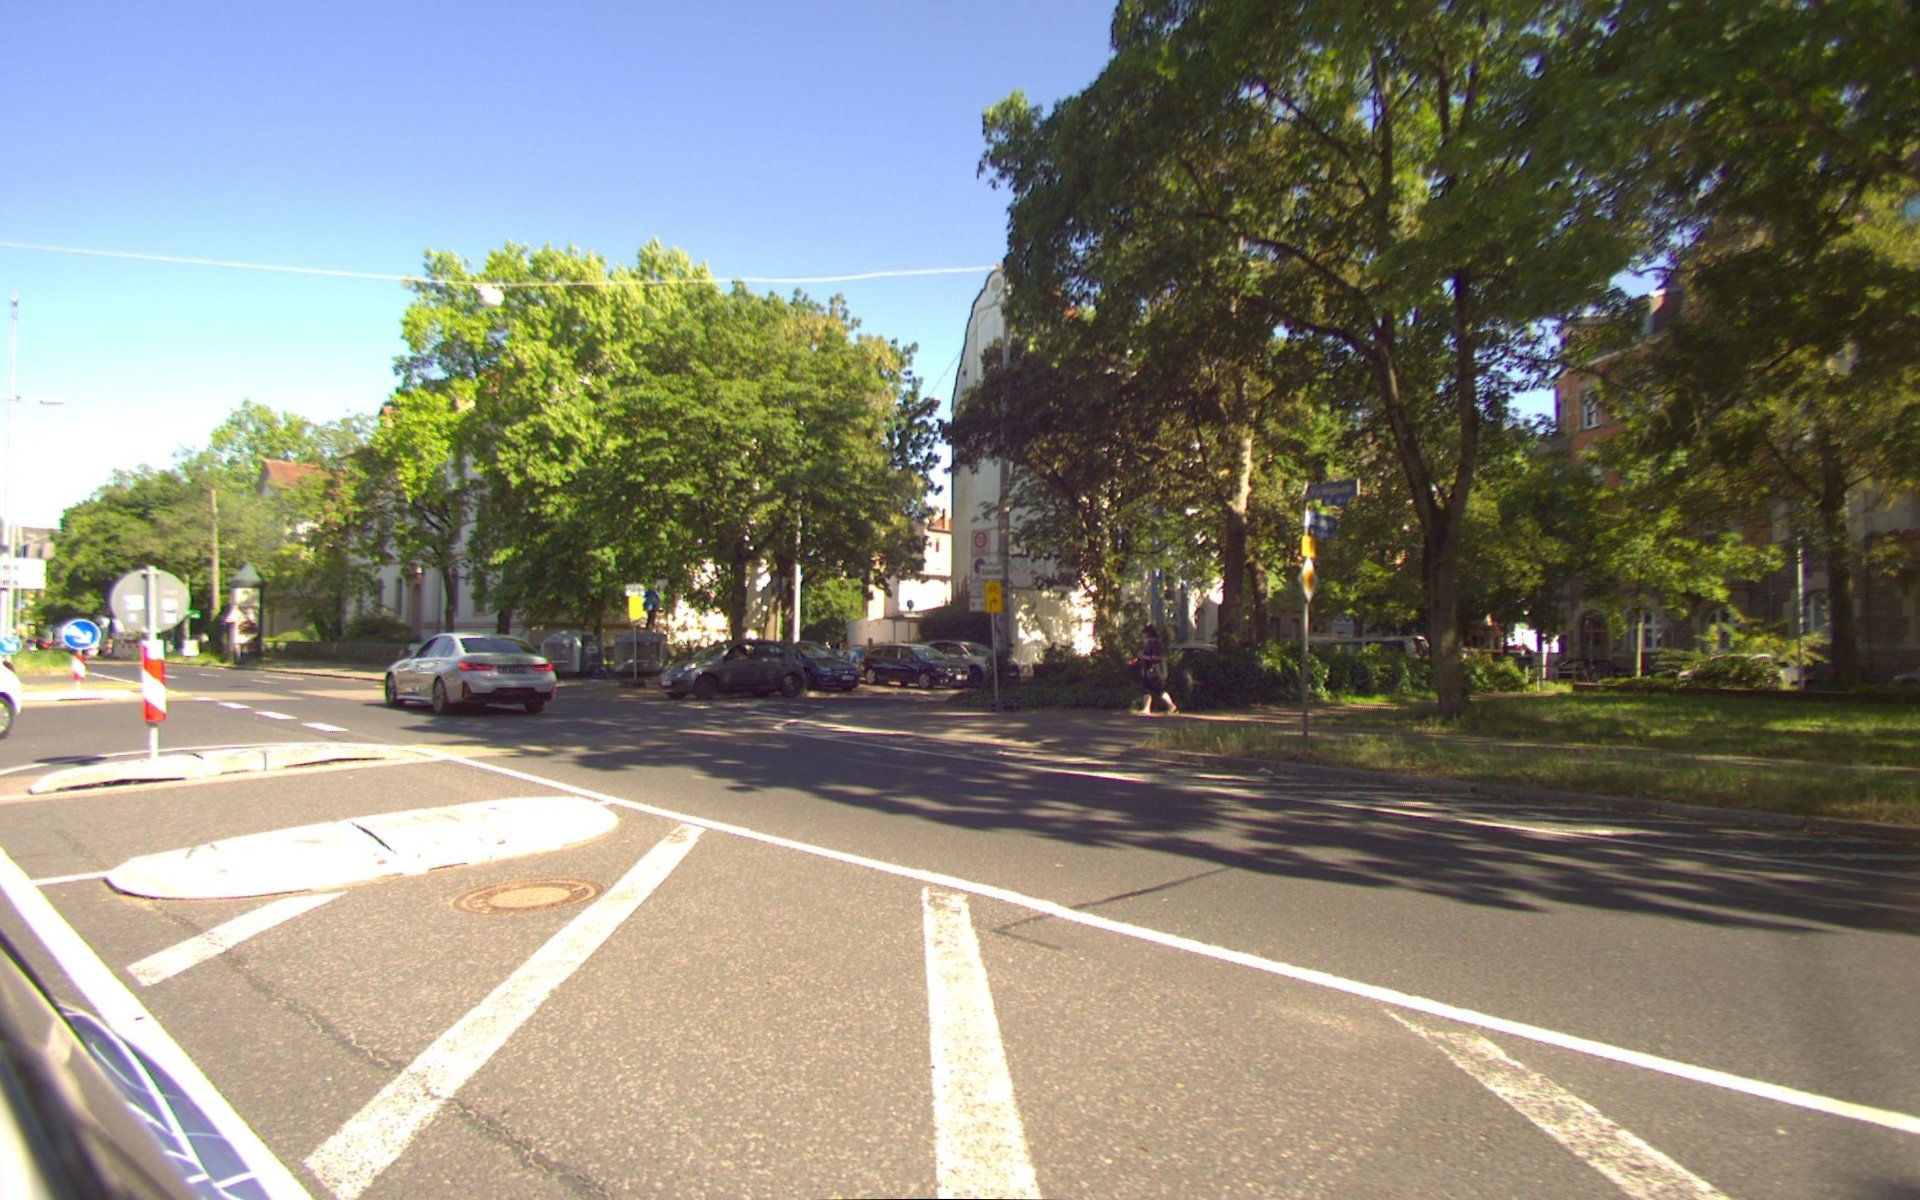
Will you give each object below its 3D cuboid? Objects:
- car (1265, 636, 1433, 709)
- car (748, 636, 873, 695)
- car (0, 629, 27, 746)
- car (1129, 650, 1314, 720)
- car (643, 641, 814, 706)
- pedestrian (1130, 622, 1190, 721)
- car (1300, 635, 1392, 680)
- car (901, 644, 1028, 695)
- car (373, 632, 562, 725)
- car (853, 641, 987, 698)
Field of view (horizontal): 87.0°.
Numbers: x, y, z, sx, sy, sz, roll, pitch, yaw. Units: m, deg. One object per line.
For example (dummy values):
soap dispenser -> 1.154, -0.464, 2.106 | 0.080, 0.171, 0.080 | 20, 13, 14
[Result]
car -> 12.923, 2.366, 33.833 | 4.919, 2.263, 1.867 | -2, -5, 45
car -> -4.761, 2.030, 31.647 | 1.863, 1.701, 4.710 | 4, -4, -36
car -> -12.949, 1.036, 11.181 | 1.631, 1.469, 3.895 | 0, -2, 0
car -> 6.895, 2.207, 27.137 | 1.863, 1.701, 4.710 | 4, -4, -36
car -> -5.765, 1.839, 25.359 | 3.721, 1.502, 1.847 | 4, -5, -40
pedestrian -> 3.692, 1.295, 18.671 | 0.818, 1.768, 0.862 | -1, -3, 33
car -> 23.555, 3.473, 61.895 | 4.918, 2.643, 1.867 | -2, -5, 44
car -> 0.099, 2.489, 36.588 | 1.866, 1.701, 4.704 | 4, -5, -43
car -> -9.237, 1.378, 18.785 | 1.783, 1.505, 4.717 | 3, -4, -43
car -> -1.445, 2.325, 34.601 | 1.866, 1.701, 4.702 | 4, -3, -44
